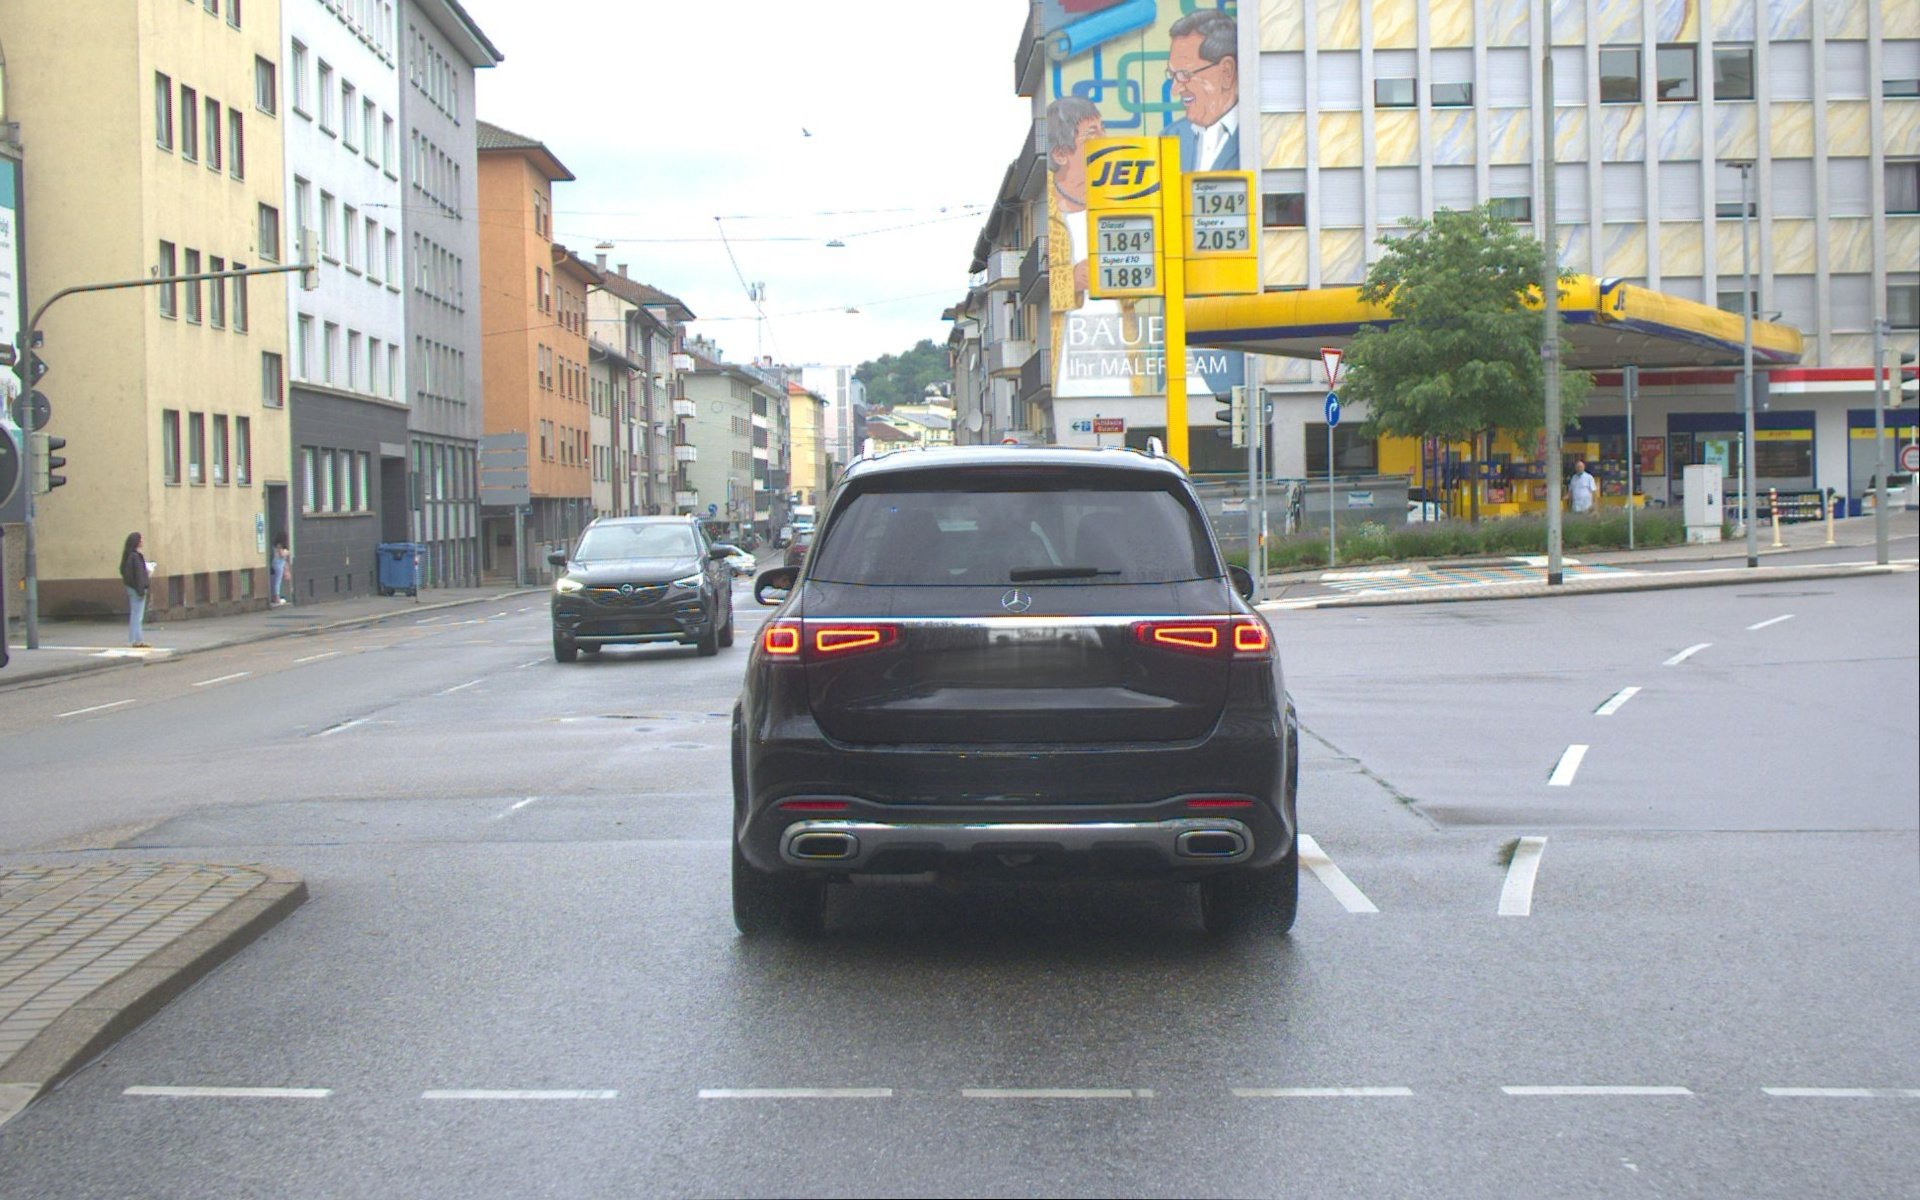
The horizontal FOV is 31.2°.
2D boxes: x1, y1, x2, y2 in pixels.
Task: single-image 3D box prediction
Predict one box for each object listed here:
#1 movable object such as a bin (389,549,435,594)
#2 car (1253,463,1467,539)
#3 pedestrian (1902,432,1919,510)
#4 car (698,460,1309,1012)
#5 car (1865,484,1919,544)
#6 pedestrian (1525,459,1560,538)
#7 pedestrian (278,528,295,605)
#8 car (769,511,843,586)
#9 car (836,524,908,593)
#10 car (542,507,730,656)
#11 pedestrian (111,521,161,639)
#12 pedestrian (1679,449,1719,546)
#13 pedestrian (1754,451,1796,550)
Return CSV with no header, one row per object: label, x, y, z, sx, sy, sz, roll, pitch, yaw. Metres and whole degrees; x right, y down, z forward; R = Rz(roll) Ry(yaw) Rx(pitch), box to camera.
movable object such as a bin,-12.883,-0.657,80.838,0.910,1.034,0.844,1,-1,1
car,7.910,-1.954,68.148,1.732,1.371,3.997,-2,1,-44
pedestrian,21.262,-2.866,76.306,0.526,1.721,0.688,0,1,26
car,0.123,0.464,13.366,1.993,1.794,4.000,1,0,-1
car,24.580,-2.141,86.659,1.998,1.393,3.991,1,-1,38
pedestrian,12.783,-2.225,75.442,0.527,1.721,0.688,0,1,29
pedestrian,-14.222,-0.703,72.604,0.245,1.619,0.411,1,-1,1
car,-4.331,-1.431,97.287,1.993,2.007,4.000,1,0,-2
car,-2.136,-0.990,83.458,1.683,1.590,4.000,1,0,-2
car,-3.690,-0.191,39.784,1.993,1.609,4.190,1,0,-3
pedestrian,-12.244,-0.305,51.093,0.627,1.721,0.650,-2,1,-10
pedestrian,13.211,-1.830,61.471,0.526,1.721,0.688,0,1,26
pedestrian,14.187,-1.721,59.837,0.572,1.692,0.631,1,-1,1
